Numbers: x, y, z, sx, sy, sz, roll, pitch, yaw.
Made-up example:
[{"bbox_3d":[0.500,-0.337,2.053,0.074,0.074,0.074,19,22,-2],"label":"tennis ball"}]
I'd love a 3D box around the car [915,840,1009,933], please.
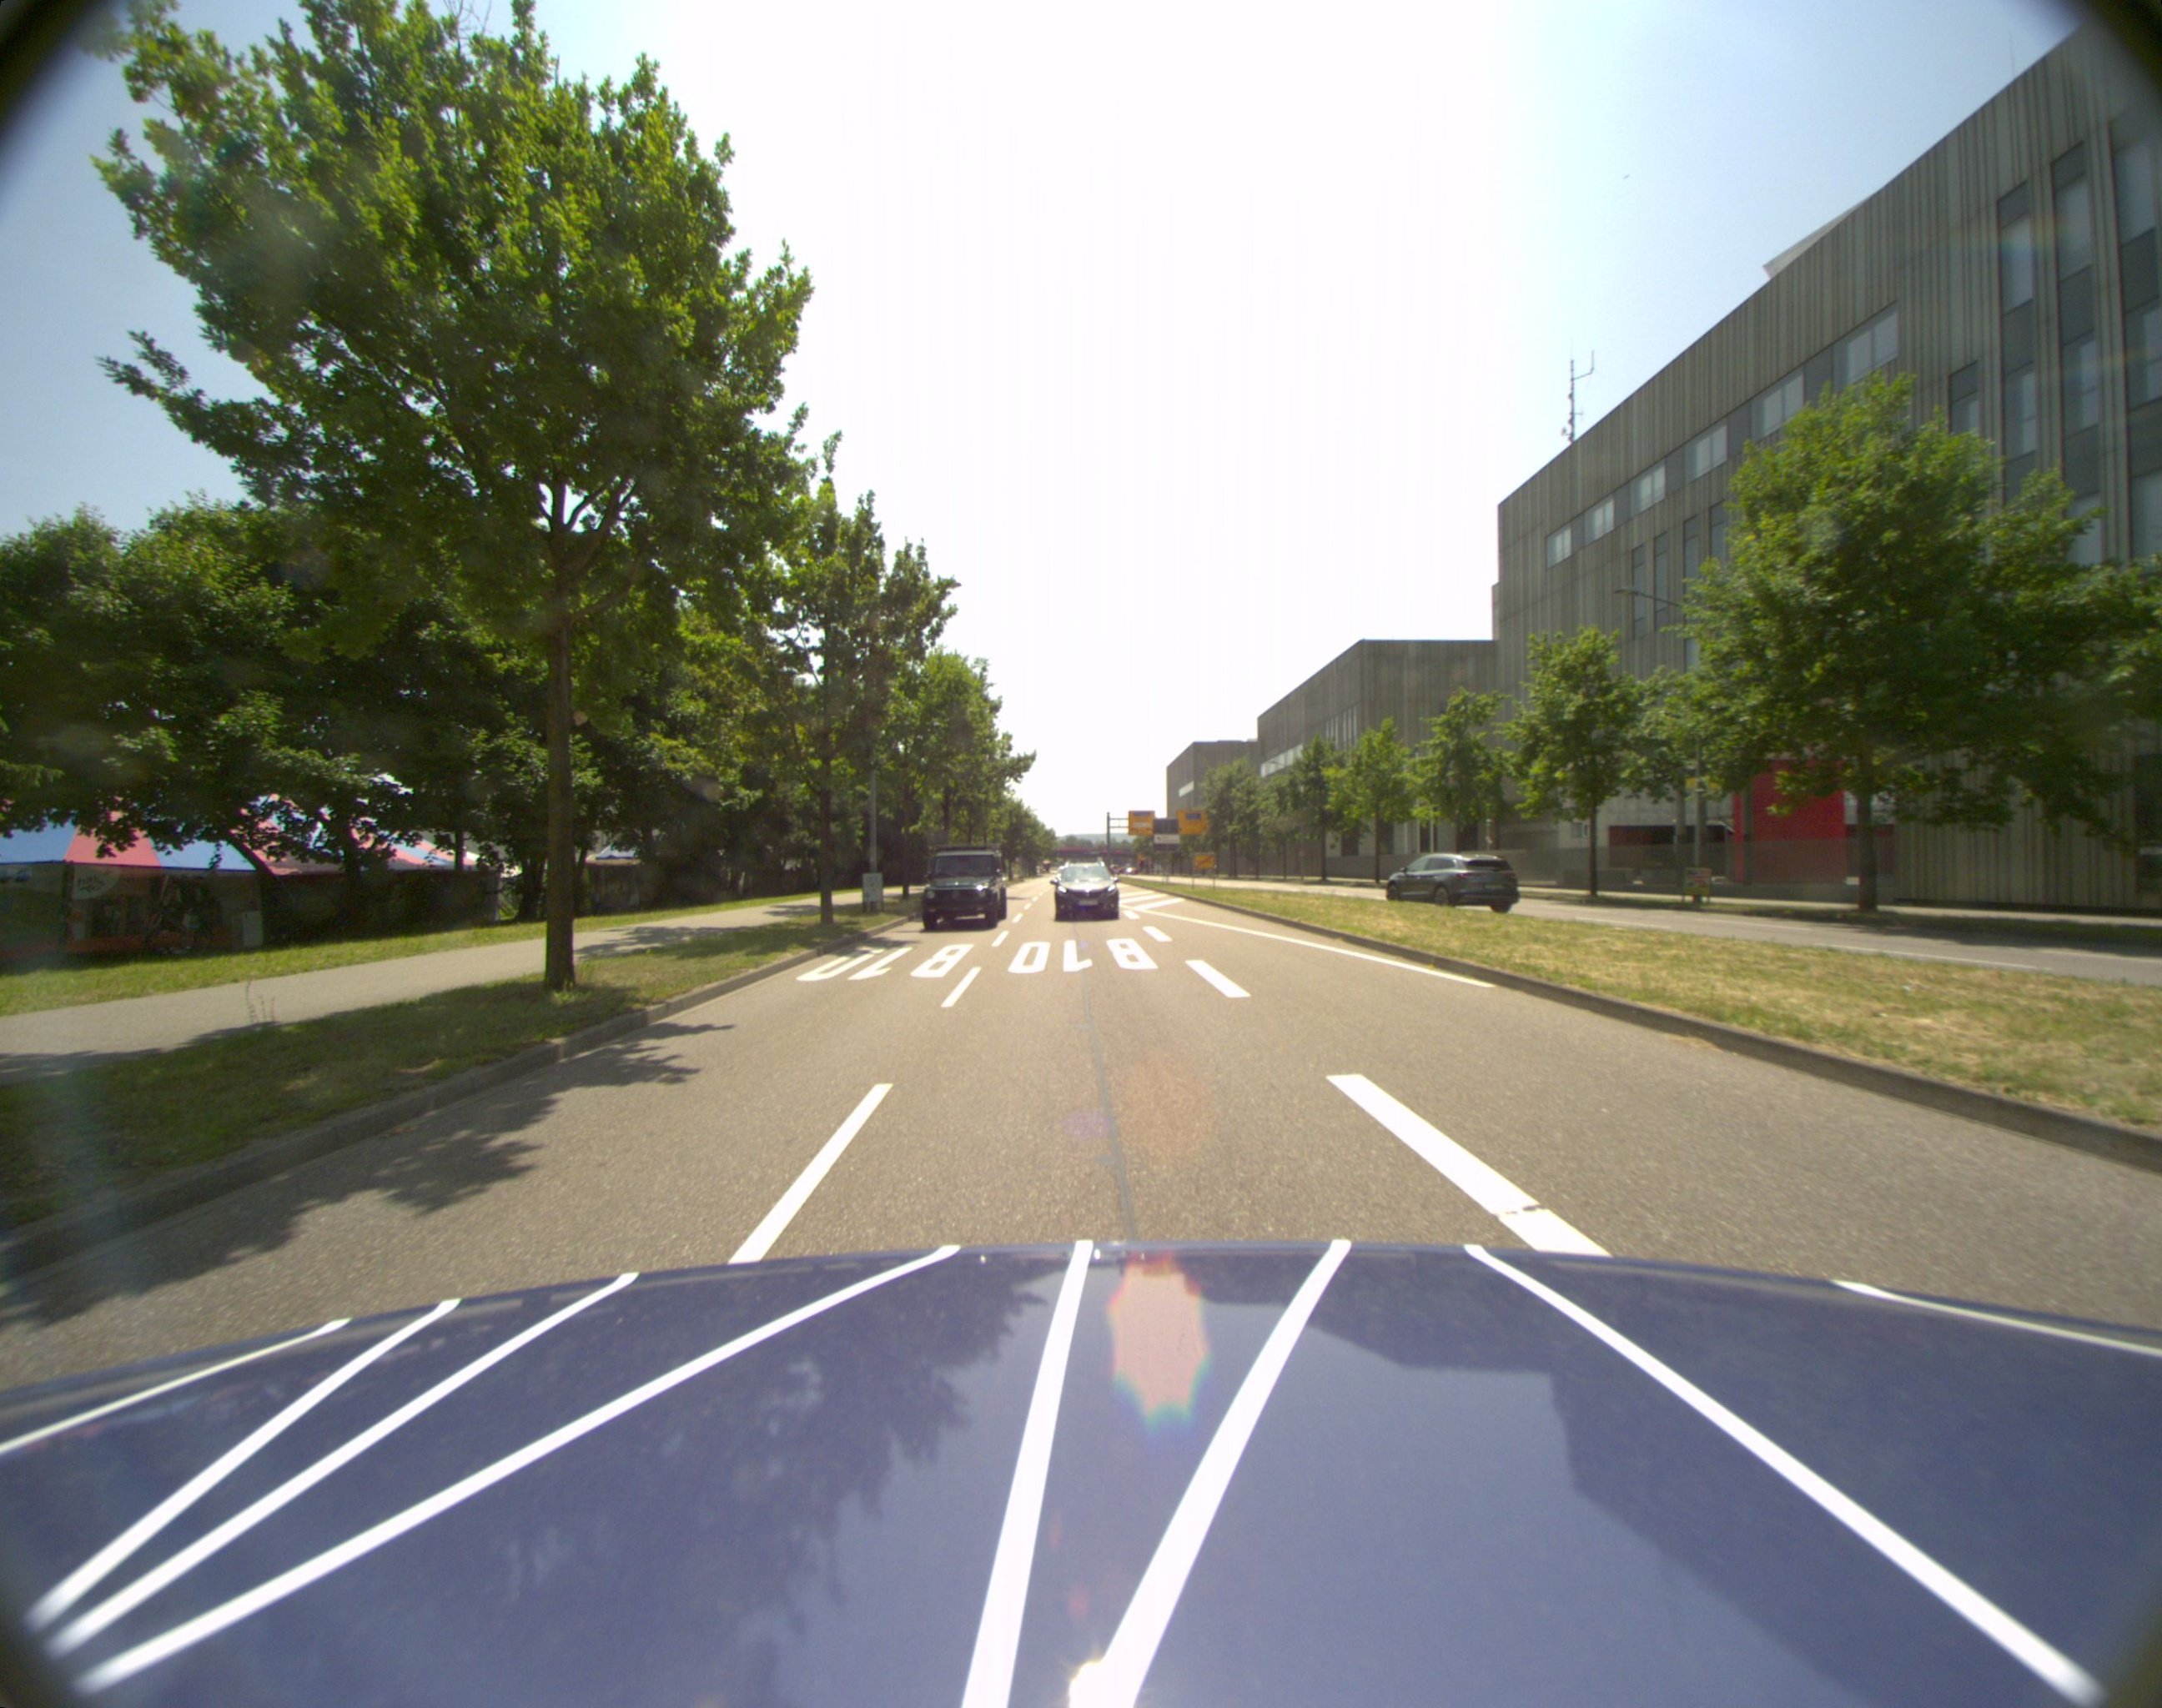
[{"bbox_3d":[-2.990,0.772,20.002,1.842,2.141,4.557,-1,0,-2],"label":"car"}]

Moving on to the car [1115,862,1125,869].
[{"bbox_3d":[9.034,2.677,176.685,1.815,1.736,4.645,-1,0,-3],"label":"car"}]

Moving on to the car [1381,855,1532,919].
[{"bbox_3d":[10.495,0.853,21.683,1.898,1.601,4.533,-1,0,-3],"label":"car"}]

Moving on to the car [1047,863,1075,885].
[{"bbox_3d":[-1.360,1.354,52.394,1.817,1.455,4.000,-1,-1,-1],"label":"car"}]

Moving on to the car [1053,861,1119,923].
[{"bbox_3d":[0.161,1.027,21.639,1.619,1.502,4.459,-3,-1,1],"label":"car"}]

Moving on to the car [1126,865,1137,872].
[{"bbox_3d":[10.496,2.957,157.551,1.815,1.418,4.359,1,-1,-1],"label":"car"}]

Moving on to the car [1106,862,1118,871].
[{"bbox_3d":[5.255,2.124,130.517,1.712,1.463,3.940,1,-1,-3],"label":"car"}]

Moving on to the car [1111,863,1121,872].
[{"bbox_3d":[7.330,2.803,160.294,1.862,1.914,4.000,-1,0,-1],"label":"car"}]

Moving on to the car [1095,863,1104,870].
[{"bbox_3d":[4.212,2.879,176.203,1.815,1.457,4.057,1,-1,-1],"label":"car"}]
